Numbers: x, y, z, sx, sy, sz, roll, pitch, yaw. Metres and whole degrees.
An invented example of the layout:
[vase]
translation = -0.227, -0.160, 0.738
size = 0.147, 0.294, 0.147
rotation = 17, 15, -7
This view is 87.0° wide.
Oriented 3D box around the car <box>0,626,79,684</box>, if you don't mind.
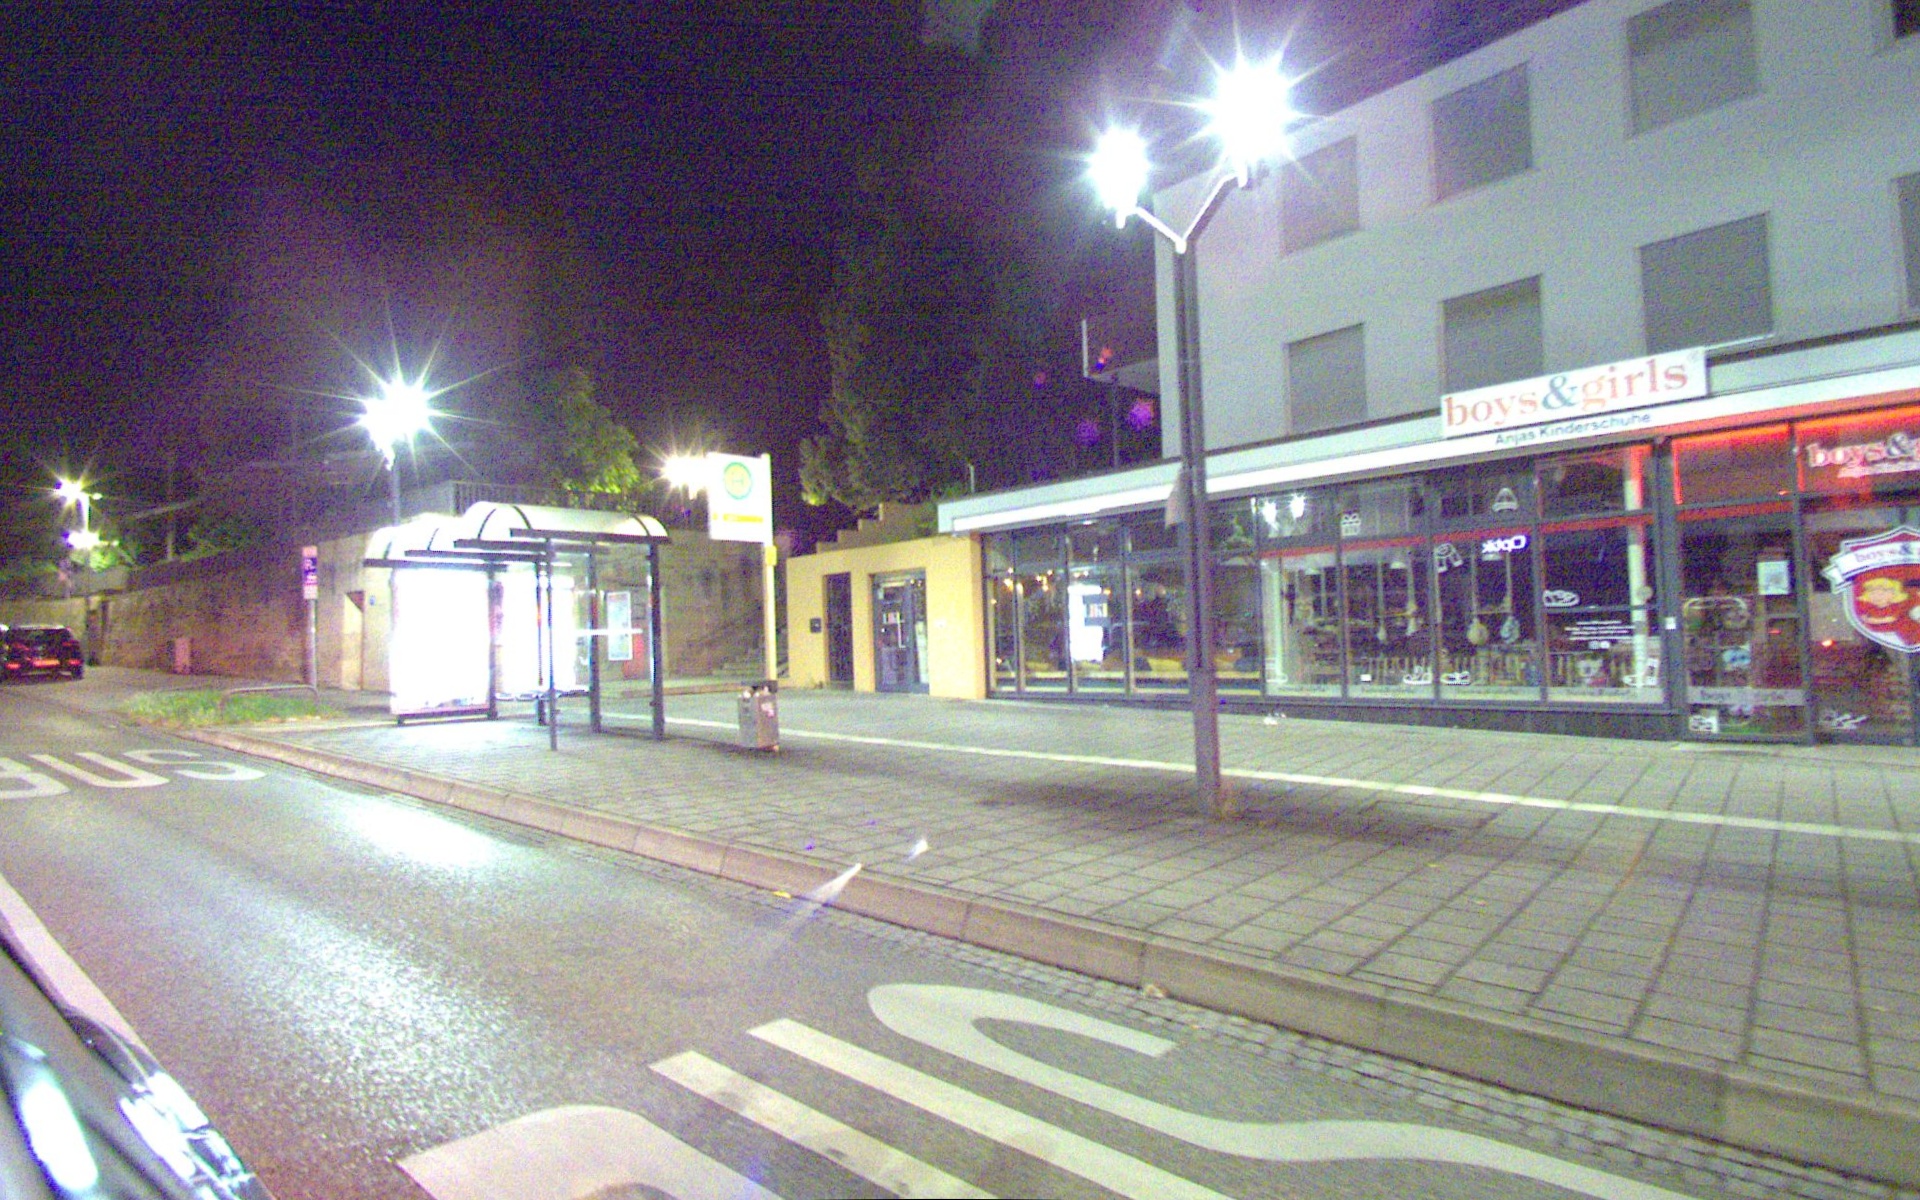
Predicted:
[car]
translation = -26.384, 1.505, 28.474
size = 4.123, 1.447, 1.675
rotation = -1, 0, 39
